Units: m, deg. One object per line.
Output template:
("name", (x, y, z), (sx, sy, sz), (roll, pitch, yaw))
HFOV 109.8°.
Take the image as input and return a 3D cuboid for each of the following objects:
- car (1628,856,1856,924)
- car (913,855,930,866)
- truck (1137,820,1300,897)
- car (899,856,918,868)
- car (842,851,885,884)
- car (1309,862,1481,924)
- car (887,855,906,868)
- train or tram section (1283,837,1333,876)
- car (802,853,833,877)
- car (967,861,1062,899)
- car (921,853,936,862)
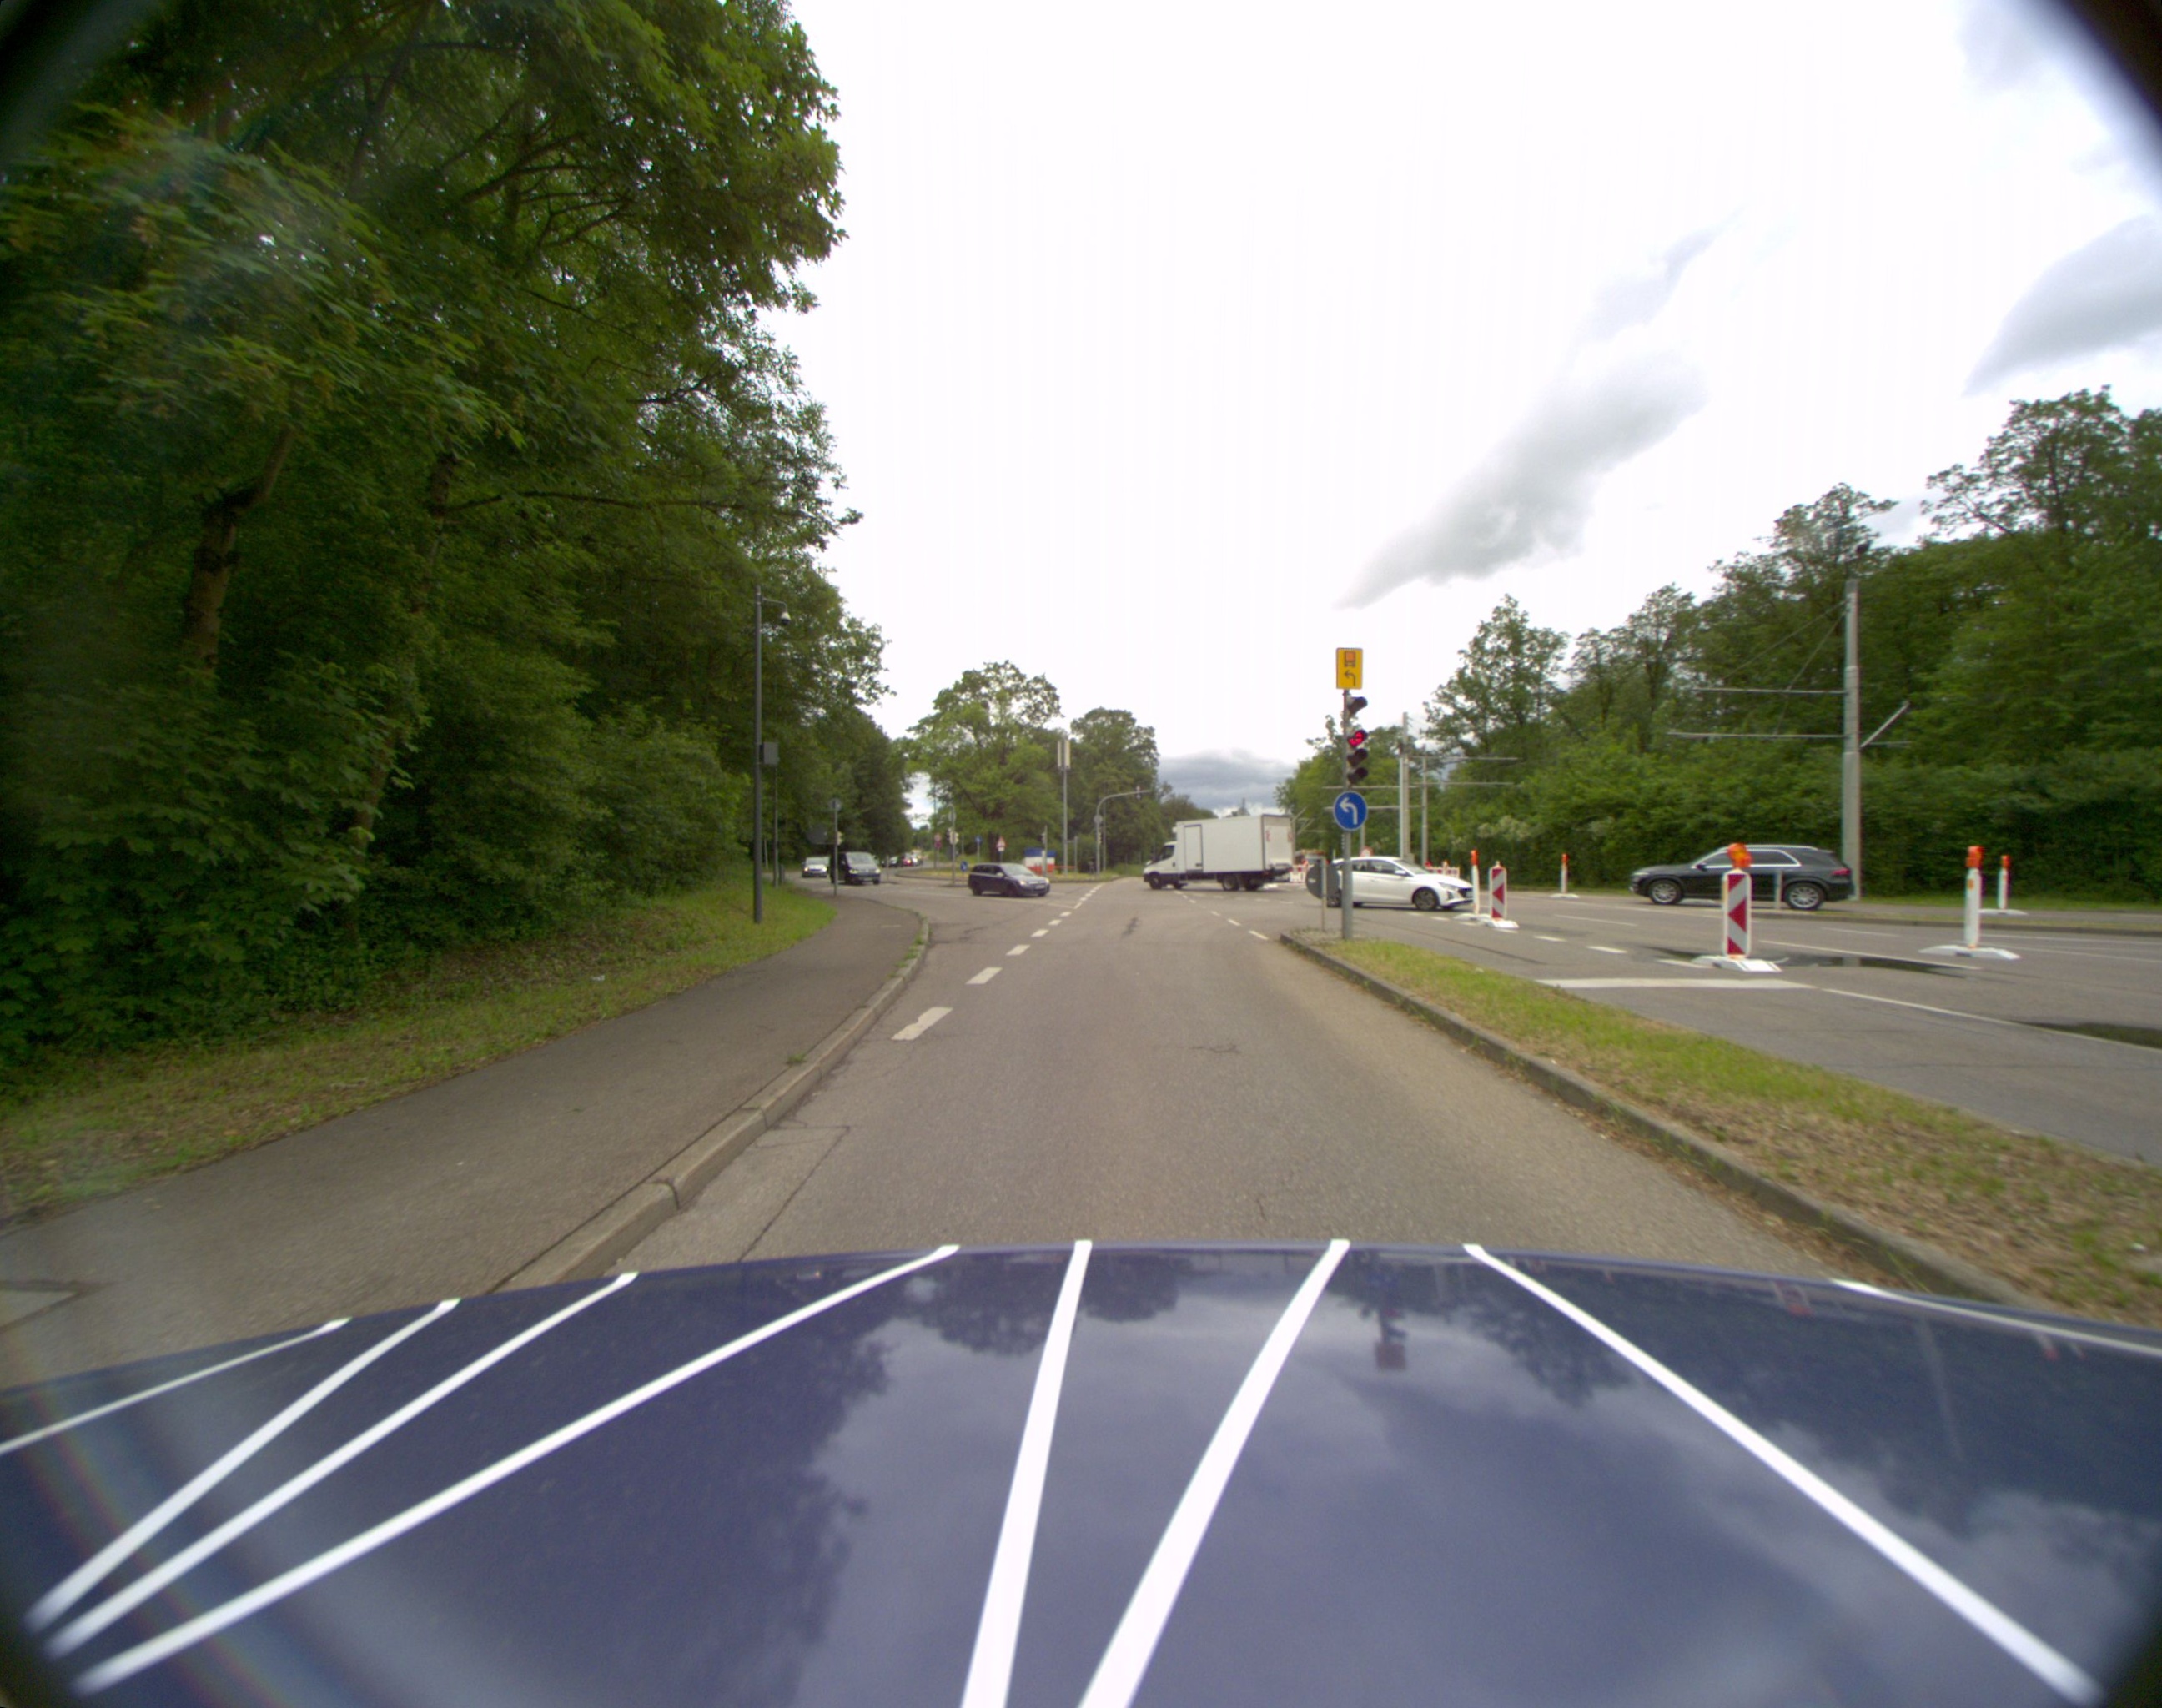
("car", (19.066, 0.942, 22.154), (4.831, 1.739, 1.973), (0, 0, 42))
("car", (-23.192, 0.963, 110.511), (1.778, 1.491, 3.872), (1, 0, -2))
("truck", (6.120, 0.175, 34.756), (7.134, 3.205, 2.462), (1, 0, 44))
("car", (-23.318, 1.048, 102.695), (1.778, 1.491, 3.872), (1, 0, -2))
("car", (-13.153, 0.788, 45.773), (1.994, 1.861, 4.523), (1, 0, -22))
("car", (8.604, 1.003, 21.021), (4.061, 1.470, 1.659), (1, 0, 43))
("car", (-22.798, 0.947, 93.905), (1.779, 1.491, 3.871), (1, 0, -5))
("train or tram section", (29.113, 0.097, 98.460), (2.952, 4.624, 18.551), (1, 1, 7))
("car", (-19.390, 0.793, 55.775), (1.797, 1.664, 3.983), (1, -1, -24))
("car", (-2.970, 1.067, 33.027), (1.808, 1.470, 4.457), (1, 0, -41))
("car", (-25.351, 0.632, 126.321), (1.778, 1.491, 3.872), (1, 0, -2))
